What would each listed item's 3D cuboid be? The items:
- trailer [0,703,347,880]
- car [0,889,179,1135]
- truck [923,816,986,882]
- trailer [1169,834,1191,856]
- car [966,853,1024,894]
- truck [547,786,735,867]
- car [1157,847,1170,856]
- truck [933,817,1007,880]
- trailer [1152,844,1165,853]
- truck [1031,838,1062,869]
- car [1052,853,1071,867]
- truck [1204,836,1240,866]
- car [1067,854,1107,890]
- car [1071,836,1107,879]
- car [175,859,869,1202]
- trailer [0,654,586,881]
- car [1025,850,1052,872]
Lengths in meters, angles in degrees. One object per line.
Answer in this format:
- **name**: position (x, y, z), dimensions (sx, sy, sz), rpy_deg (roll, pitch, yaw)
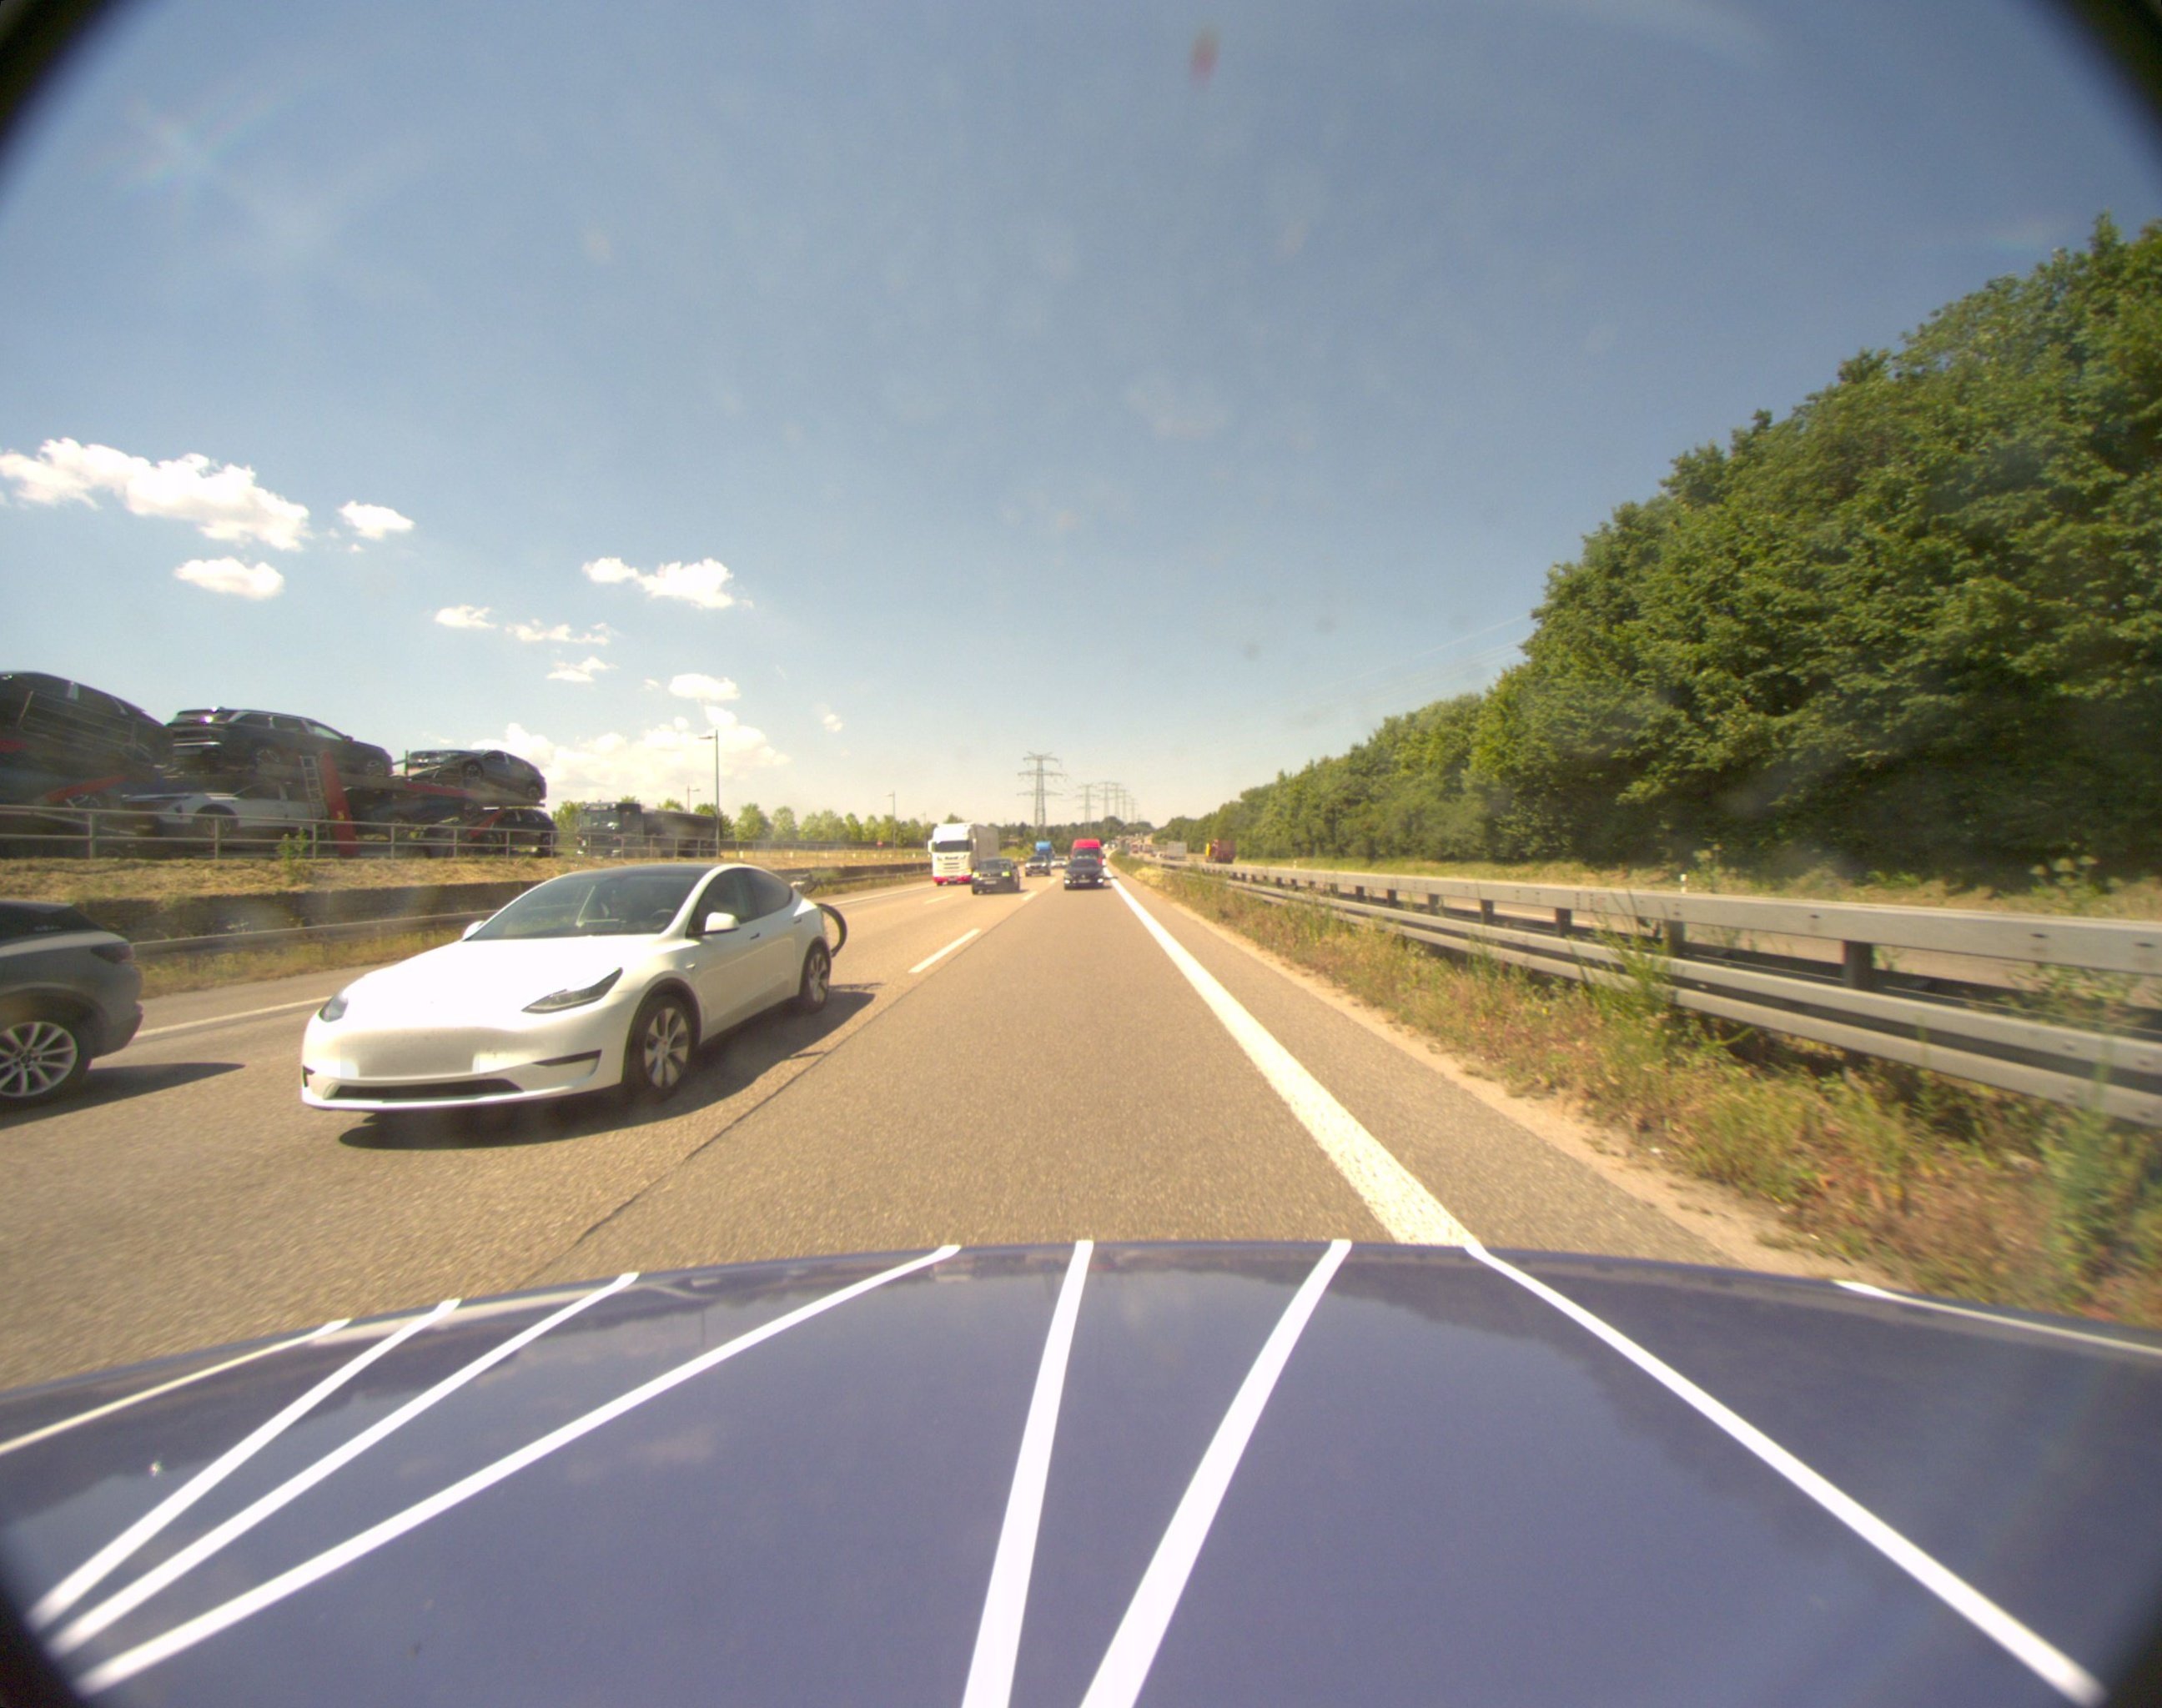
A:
- **trailer**: position (-26.405, -1.407, 18.450), dimensions (3.060, 4.060, 14.255), rpy_deg (-3, 1, 0)
- **car**: position (-8.372, 1.167, 3.909), dimensions (1.873, 1.627, 4.585), rpy_deg (-2, 1, 1)
- **truck**: position (-7.951, -0.342, 48.283), dimensions (3.076, 3.885, 3.847), rpy_deg (-3, 1, 1)
- **trailer**: position (20.882, -1.918, 161.337), dimensions (3.462, 4.255, 7.968), rpy_deg (-3, 1, 0)
- **car**: position (-3.859, 0.851, 34.767), dimensions (1.955, 1.637, 4.047), rpy_deg (-3, 1, 3)
- **truck**: position (-25.748, -1.534, 45.804), dimensions (3.798, 4.060, 12.516), rpy_deg (-3, 1, 0)
- **car**: position (16.064, -0.440, 148.663), dimensions (1.998, 1.661, 5.610), rpy_deg (1, 1, 1)
- **truck**: position (-7.771, -0.421, 55.360), dimensions (3.076, 3.885, 12.503), rpy_deg (-3, 1, 1)
- **trailer**: position (23.738, -1.777, 232.644), dimensions (3.153, 2.624, 8.531), rpy_deg (-3, 1, 2)
- **truck**: position (-5.856, -0.223, 130.618), dimensions (3.797, 4.971, 14.924), rpy_deg (-3, 1, 2)
- **car**: position (-2.319, 0.745, 90.766), dimensions (1.878, 1.591, 3.688), rpy_deg (-1, 1, 3)
- **truck**: position (18.934, -0.431, 103.036), dimensions (2.789, 3.717, 11.156), rpy_deg (-3, 1, 1)
- **car**: position (0.313, 0.799, 35.808), dimensions (1.735, 1.535, 3.750), rpy_deg (0, 1, 3)
- **car**: position (0.571, 0.186, 49.517), dimensions (2.100, 2.598, 4.496), rpy_deg (-1, 1, 3)
- **car**: position (-3.724, 0.958, 6.812), dimensions (1.955, 1.627, 5.599), rpy_deg (-3, 1, 1)
- **trailer**: position (-21.405, -1.684, 21.210), dimensions (2.612, 4.233, 18.419), rpy_deg (-3, 1, 1)
- **car**: position (-3.439, 0.544, 61.829), dimensions (1.749, 1.691, 4.088), rpy_deg (-1, 1, 3)
